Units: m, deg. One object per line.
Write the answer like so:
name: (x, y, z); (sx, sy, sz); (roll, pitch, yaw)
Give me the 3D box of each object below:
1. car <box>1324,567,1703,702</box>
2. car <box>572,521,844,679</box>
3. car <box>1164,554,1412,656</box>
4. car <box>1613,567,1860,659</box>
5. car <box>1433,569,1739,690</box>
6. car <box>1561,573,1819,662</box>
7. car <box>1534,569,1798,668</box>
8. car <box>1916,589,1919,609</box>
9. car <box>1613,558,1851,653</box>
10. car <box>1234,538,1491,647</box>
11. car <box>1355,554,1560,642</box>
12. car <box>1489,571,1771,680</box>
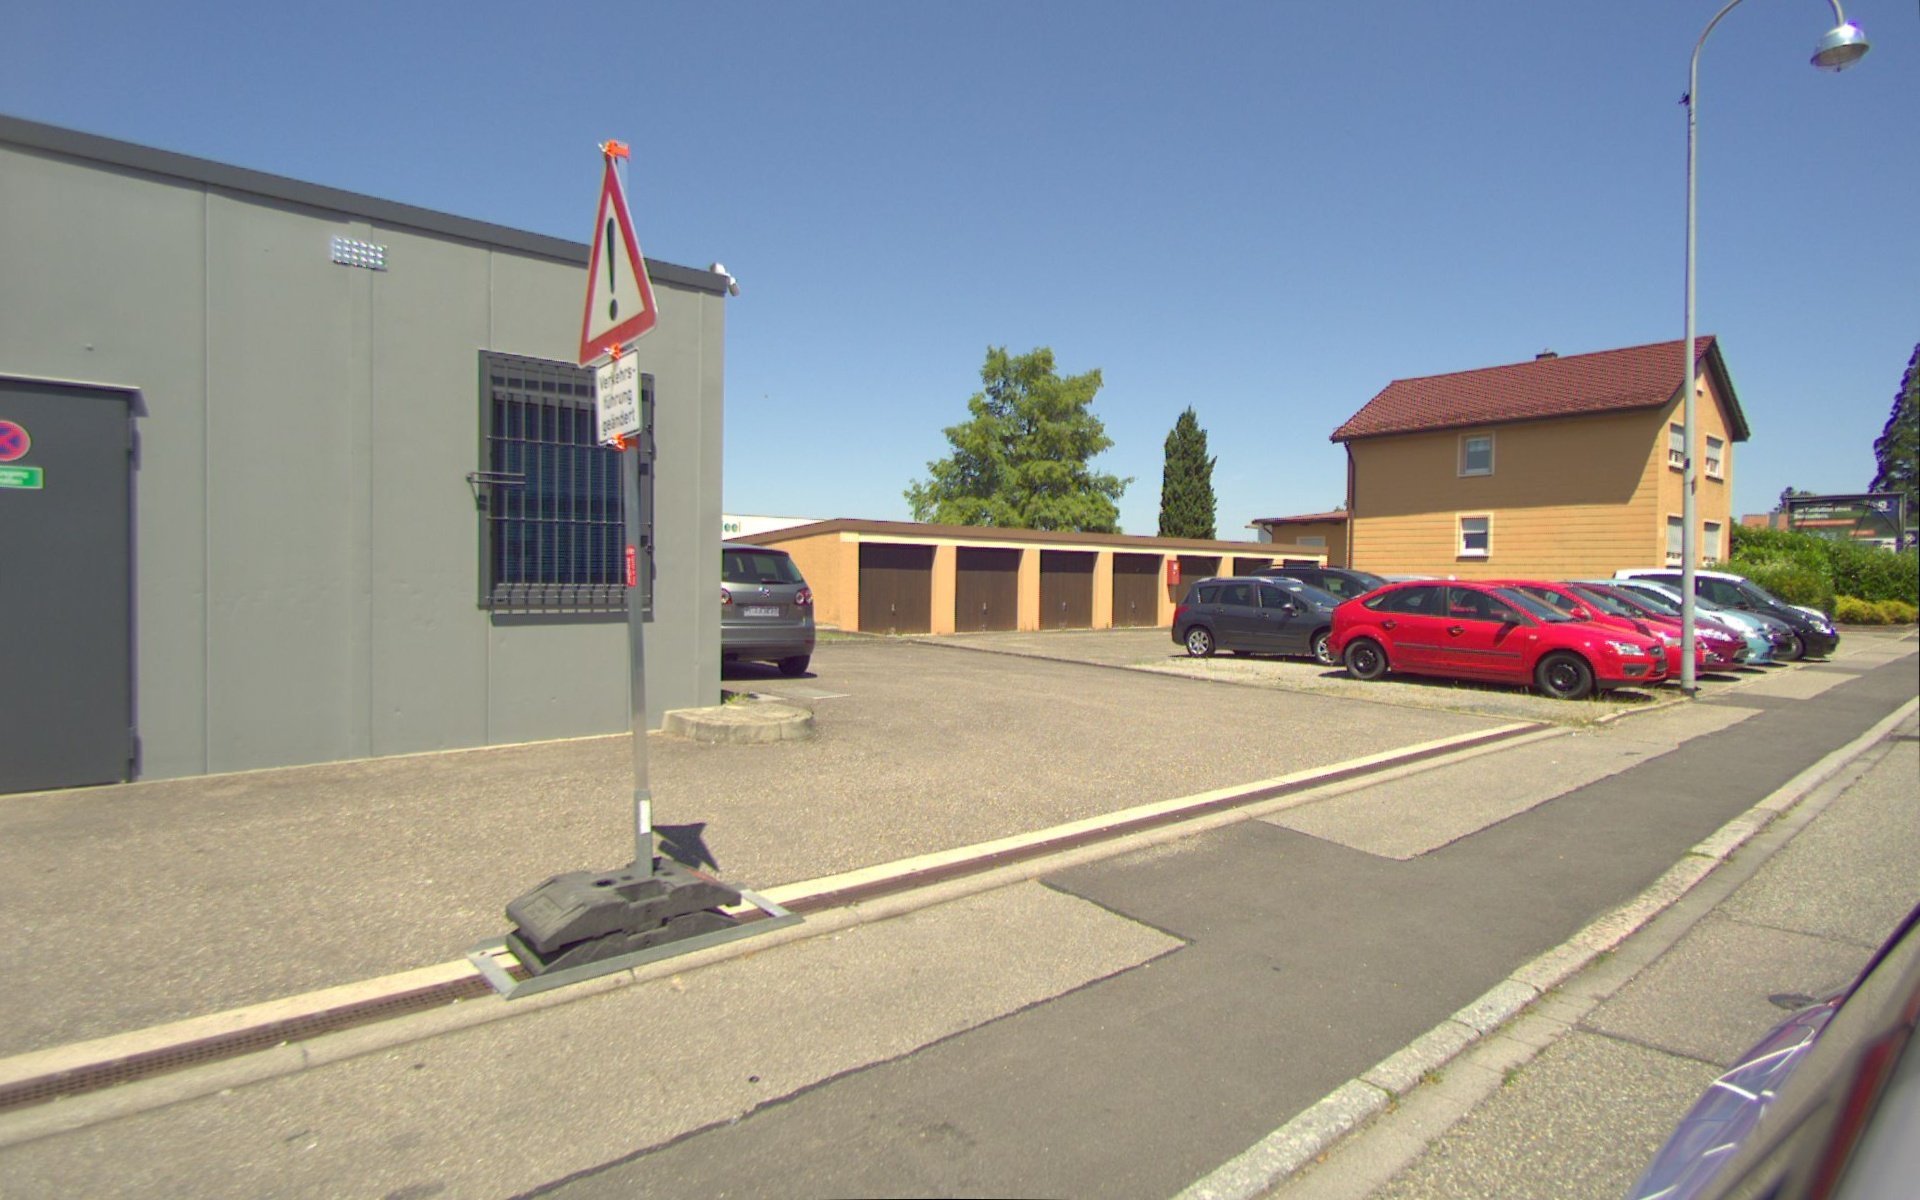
car: (7.545, 0.344, 14.116); (1.924, 1.553, 4.232); (0, 2, -41)
car: (-3.340, -0.041, 12.884); (1.912, 1.678, 3.997); (-1, 1, -38)
car: (6.000, 0.140, 18.869); (1.752, 1.689, 4.044); (-1, -2, -41)
car: (16.194, 0.194, 21.224); (1.734, 1.701, 3.879); (0, 2, -44)
car: (9.509, 0.350, 15.551); (1.680, 1.586, 3.688); (0, 2, -44)
car: (14.319, 0.266, 19.996); (1.801, 1.528, 3.800); (0, 2, -40)
car: (12.809, 0.252, 18.520); (1.614, 1.586, 3.689); (0, 2, -43)
car: (68.809, -0.062, 70.062); (1.598, 1.400, 3.636); (-1, 1, -40)
car: (17.418, 0.072, 22.956); (4.134, 1.962, 1.779); (1, 1, 44)
car: (7.957, -0.071, 20.307); (1.939, 1.921, 4.342); (0, -2, -43)
car: (11.519, 0.016, 23.633); (1.658, 1.862, 3.900); (-1, -2, -39)
car: (11.198, 0.331, 17.063); (1.721, 1.586, 3.687); (0, 2, -44)
